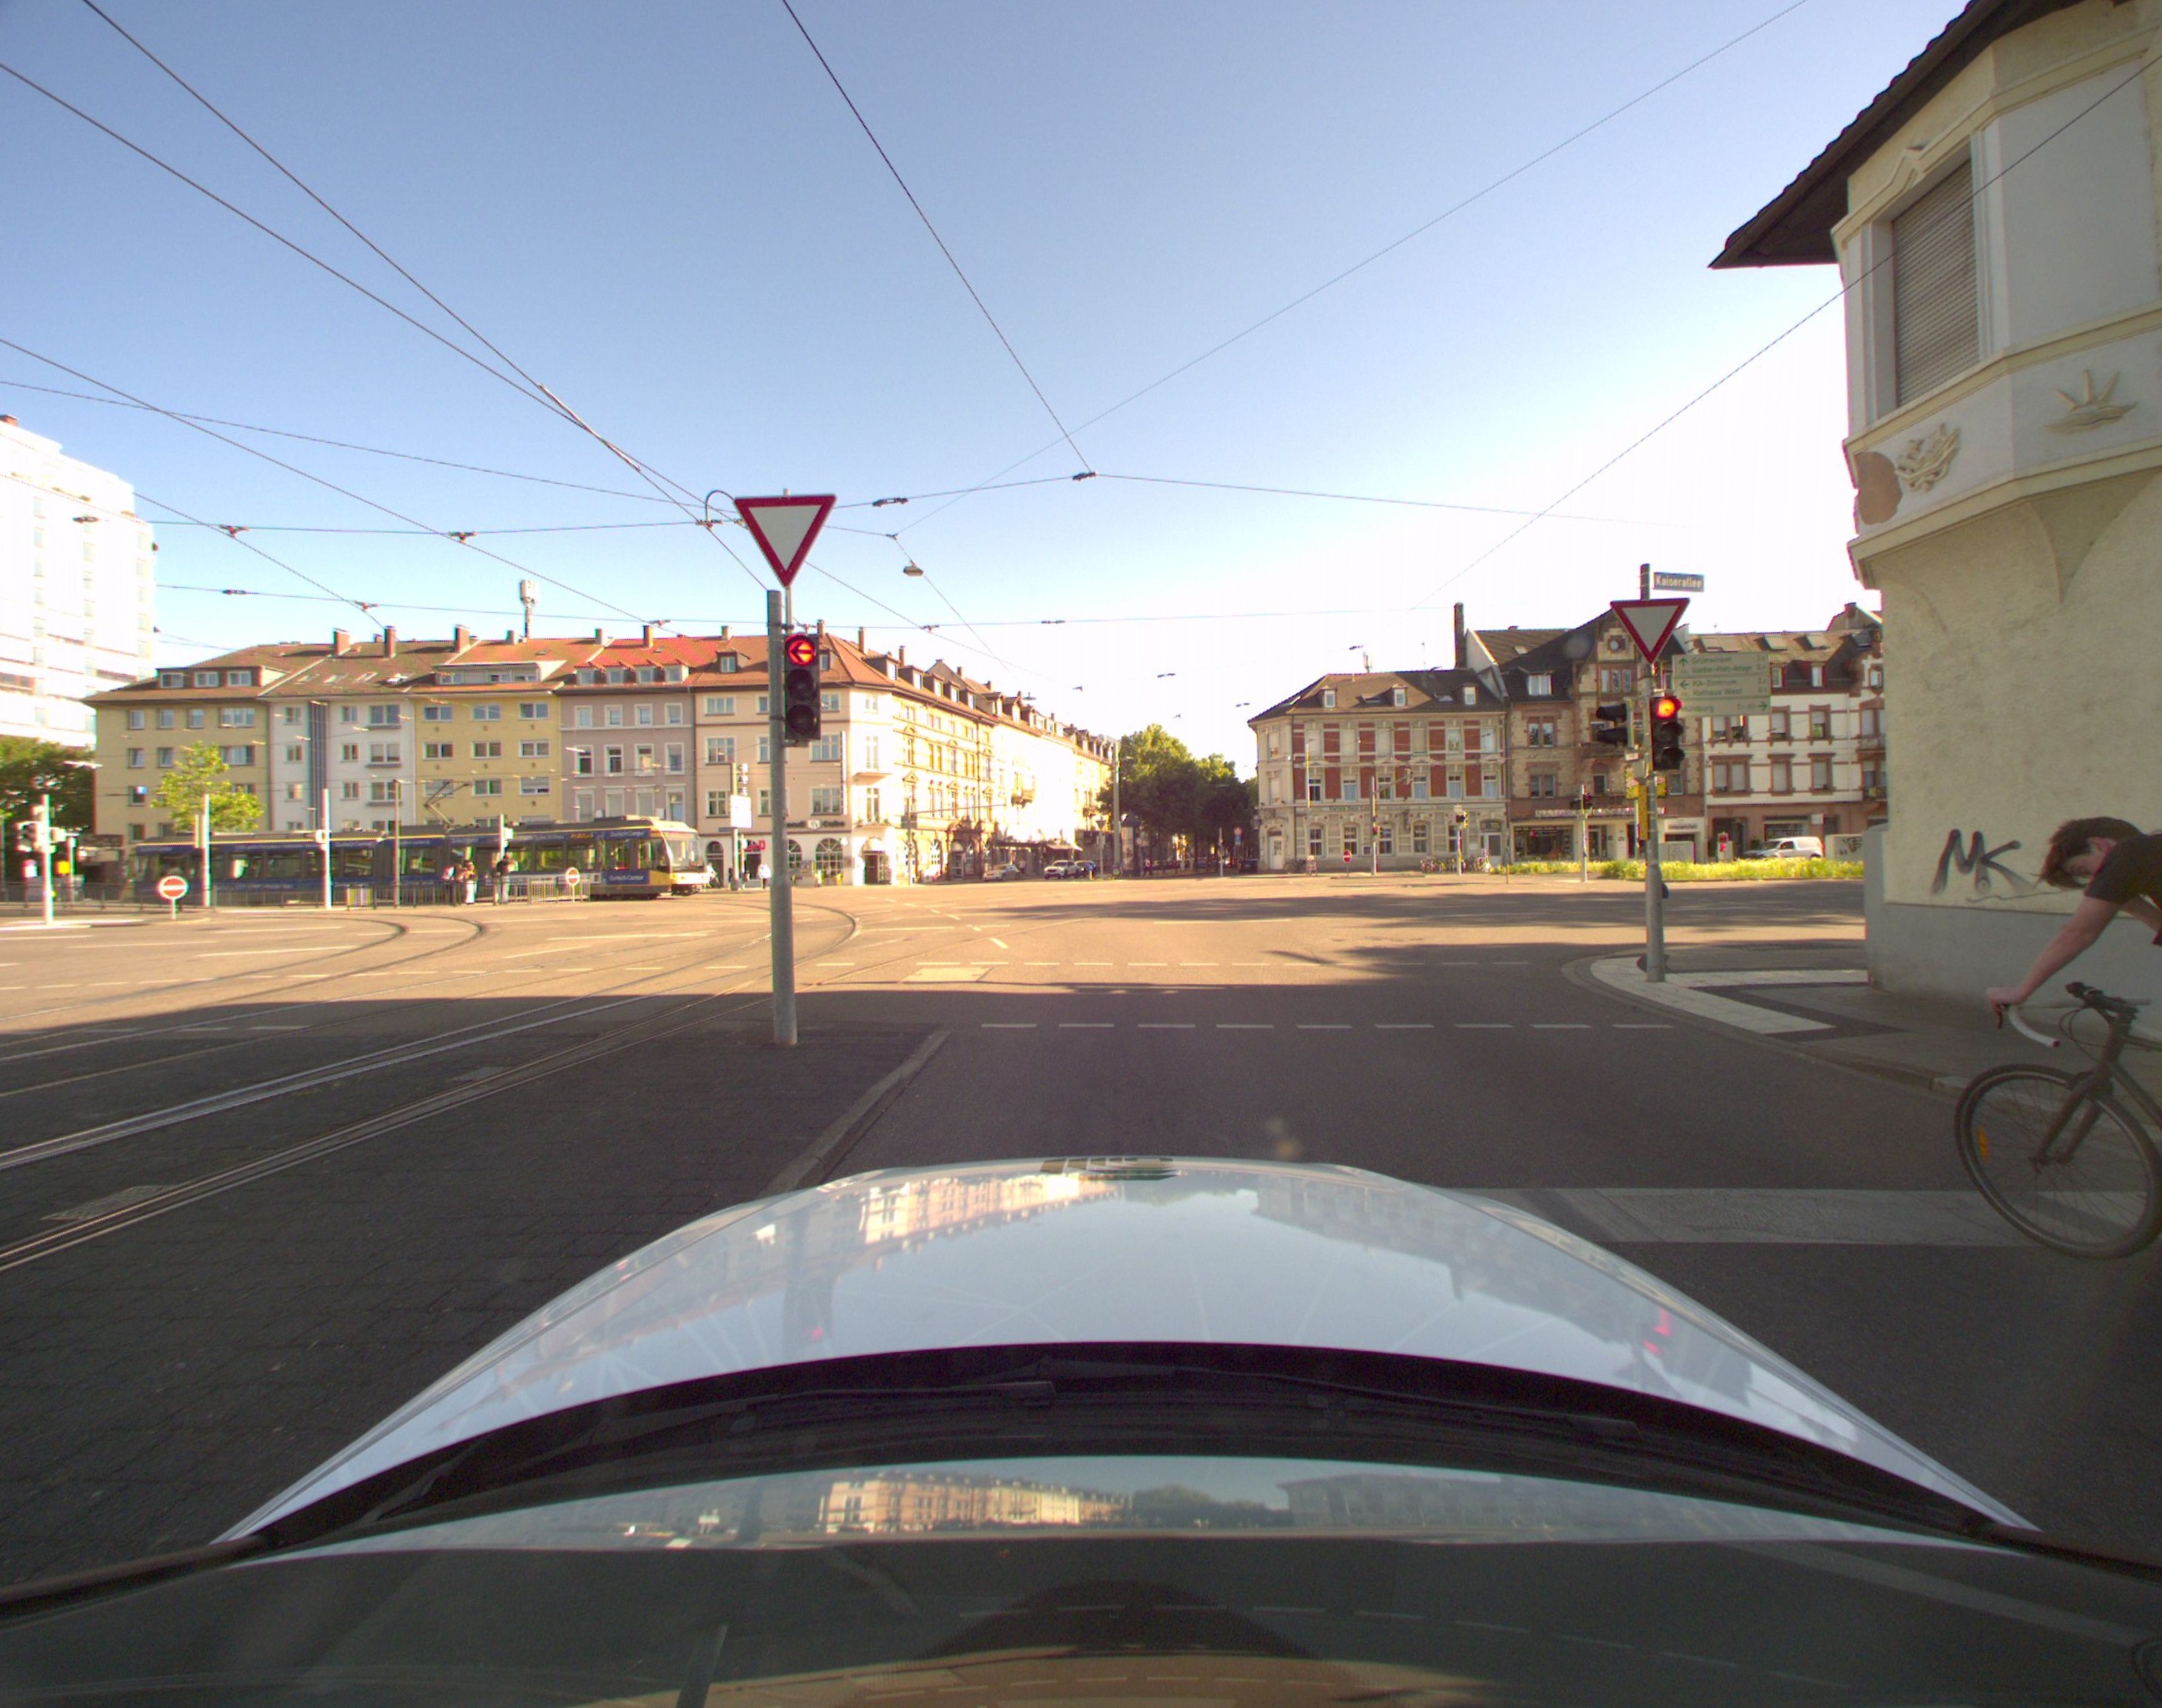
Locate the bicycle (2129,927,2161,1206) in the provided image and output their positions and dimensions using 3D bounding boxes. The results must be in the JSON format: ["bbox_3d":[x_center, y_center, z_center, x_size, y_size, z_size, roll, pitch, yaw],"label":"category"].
[{"bbox_3d":[4.537,0.854,2.442,0.516,1.116,1.815,-2,0,4],"label":"bicycle"}]

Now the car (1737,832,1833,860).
[{"bbox_3d":[45.361,-0.484,52.552,4.317,1.640,2.152,-2,0,1],"label":"car"}]

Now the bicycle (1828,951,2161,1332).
[{"bbox_3d":[3.617,0.944,2.667,0.642,1.010,1.930,-2,0,4],"label":"bicycle"}]

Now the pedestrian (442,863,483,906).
[{"bbox_3d":[-23.951,1.164,31.552,0.941,1.598,1.003,-1,0,-17],"label":"pedestrian"}]

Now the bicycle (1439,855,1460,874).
[{"bbox_3d":[23.861,0.671,52.782,0.615,1.143,2.178,-2,0,7],"label":"bicycle"}]

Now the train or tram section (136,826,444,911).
[{"bbox_3d":[-36.653,0.660,37.968,11.941,3.500,2.781,-1,0,2],"label":"train or tram section"}]

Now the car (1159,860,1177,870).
[{"bbox_3d":[13.917,1.710,130.329,1.822,1.552,4.412,-2,0,19],"label":"car"}]

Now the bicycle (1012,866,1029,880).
[{"bbox_3d":[-4.813,1.516,65.292,0.675,1.066,2.133,-2,0,14],"label":"bicycle"}]

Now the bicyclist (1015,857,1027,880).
[{"bbox_3d":[-4.809,1.136,65.335,0.674,1.820,1.075,-2,0,14],"label":"bicyclist"}]

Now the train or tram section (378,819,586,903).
[{"bbox_3d":[-26.981,0.350,36.730,8.371,3.500,2.835,-1,0,15],"label":"train or tram section"}]

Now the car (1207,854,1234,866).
[{"bbox_3d":[22.835,0.979,133.299,3.948,1.706,2.013,-2,0,32],"label":"car"}]

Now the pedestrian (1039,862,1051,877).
[{"bbox_3d":[-3.798,1.623,85.637,0.921,1.535,1.142,-2,0,16],"label":"pedestrian"}]

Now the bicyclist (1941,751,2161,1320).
[{"bbox_3d":[3.602,0.557,2.590,0.559,1.754,1.102,-2,0,4],"label":"bicyclist"}]

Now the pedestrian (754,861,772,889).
[{"bbox_3d":[-20.422,1.350,52.250,1.010,1.775,0.934,-1,0,-23],"label":"pedestrian"}]

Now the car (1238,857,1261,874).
[{"bbox_3d":[17.019,1.144,82.213,1.978,1.585,4.017,-2,0,16],"label":"car"}]

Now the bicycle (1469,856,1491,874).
[{"bbox_3d":[25.759,0.688,52.596,0.606,1.136,2.139,-2,0,7],"label":"bicycle"}]

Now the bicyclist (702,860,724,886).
[{"bbox_3d":[-25.697,1.346,56.823,1.161,1.775,0.748,-1,0,0],"label":"bicyclist"}]

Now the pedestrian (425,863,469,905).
[{"bbox_3d":[-25.301,1.185,32.512,0.998,1.598,0.946,-2,0,18],"label":"pedestrian"}]

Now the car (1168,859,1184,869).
[{"bbox_3d":[15.835,1.730,136.164,1.750,1.549,4.411,-2,0,18],"label":"car"}]

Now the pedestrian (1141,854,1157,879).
[{"bbox_3d":[4.845,0.905,58.331,1.040,1.744,0.810,-1,0,8],"label":"pedestrian"}]

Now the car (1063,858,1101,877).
[{"bbox_3d":[0.120,1.223,74.012,1.977,1.612,4.413,-2,0,20],"label":"car"}]

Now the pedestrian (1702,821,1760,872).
[{"bbox_3d":[27.116,-0.310,33.997,1.314,2.044,1.307,-2,0,1],"label":"pedestrian"}]

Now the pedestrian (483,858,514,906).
[{"bbox_3d":[-22.263,1.046,31.136,0.945,1.775,0.998,-1,-1,-35],"label":"pedestrian"}]

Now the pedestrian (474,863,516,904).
[{"bbox_3d":[-23.236,1.168,32.302,0.997,1.598,0.946,-2,0,23],"label":"pedestrian"}]

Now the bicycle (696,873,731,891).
[{"bbox_3d":[-25.601,1.982,56.759,2.083,1.181,0.631,-1,0,1],"label":"bicycle"}]

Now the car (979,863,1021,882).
[{"bbox_3d":[-6.679,1.527,67.378,1.883,1.455,4.020,-2,0,20],"label":"car"}]

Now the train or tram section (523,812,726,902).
[{"bbox_3d":[-19.312,0.184,34.485,7.871,3.500,2.837,-1,0,18],"label":"train or tram section"}]

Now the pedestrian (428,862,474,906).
[{"bbox_3d":[-23.820,1.125,30.804,0.935,1.598,1.010,-2,0,2],"label":"pedestrian"}]

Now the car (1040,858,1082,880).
[{"bbox_3d":[-1.604,1.255,67.535,1.977,1.684,4.413,-2,0,20],"label":"car"}]

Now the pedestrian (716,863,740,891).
[{"bbox_3d":[-23.000,1.510,53.099,0.998,1.775,0.945,-2,0,16],"label":"pedestrian"}]

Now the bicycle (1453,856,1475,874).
[{"bbox_3d":[24.782,0.709,52.686,0.615,1.143,2.178,-2,0,7],"label":"bicycle"}]

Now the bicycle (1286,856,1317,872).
[{"bbox_3d":[15.503,0.724,57.186,2.081,1.124,0.366,0,-1,-3],"label":"bicycle"}]

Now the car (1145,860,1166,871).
[{"bbox_3d":[11.259,1.740,122.597,1.977,1.612,4.413,-2,0,20],"label":"car"}]

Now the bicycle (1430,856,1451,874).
[{"bbox_3d":[23.282,0.691,52.834,0.615,1.143,2.178,-2,0,7],"label":"bicycle"}]

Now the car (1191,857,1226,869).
[{"bbox_3d":[18.000,1.317,115.117,4.335,1.612,2.012,-2,0,28],"label":"car"}]

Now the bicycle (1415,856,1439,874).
[{"bbox_3d":[22.503,0.700,52.983,0.802,1.143,2.178,-2,0,7],"label":"bicycle"}]
